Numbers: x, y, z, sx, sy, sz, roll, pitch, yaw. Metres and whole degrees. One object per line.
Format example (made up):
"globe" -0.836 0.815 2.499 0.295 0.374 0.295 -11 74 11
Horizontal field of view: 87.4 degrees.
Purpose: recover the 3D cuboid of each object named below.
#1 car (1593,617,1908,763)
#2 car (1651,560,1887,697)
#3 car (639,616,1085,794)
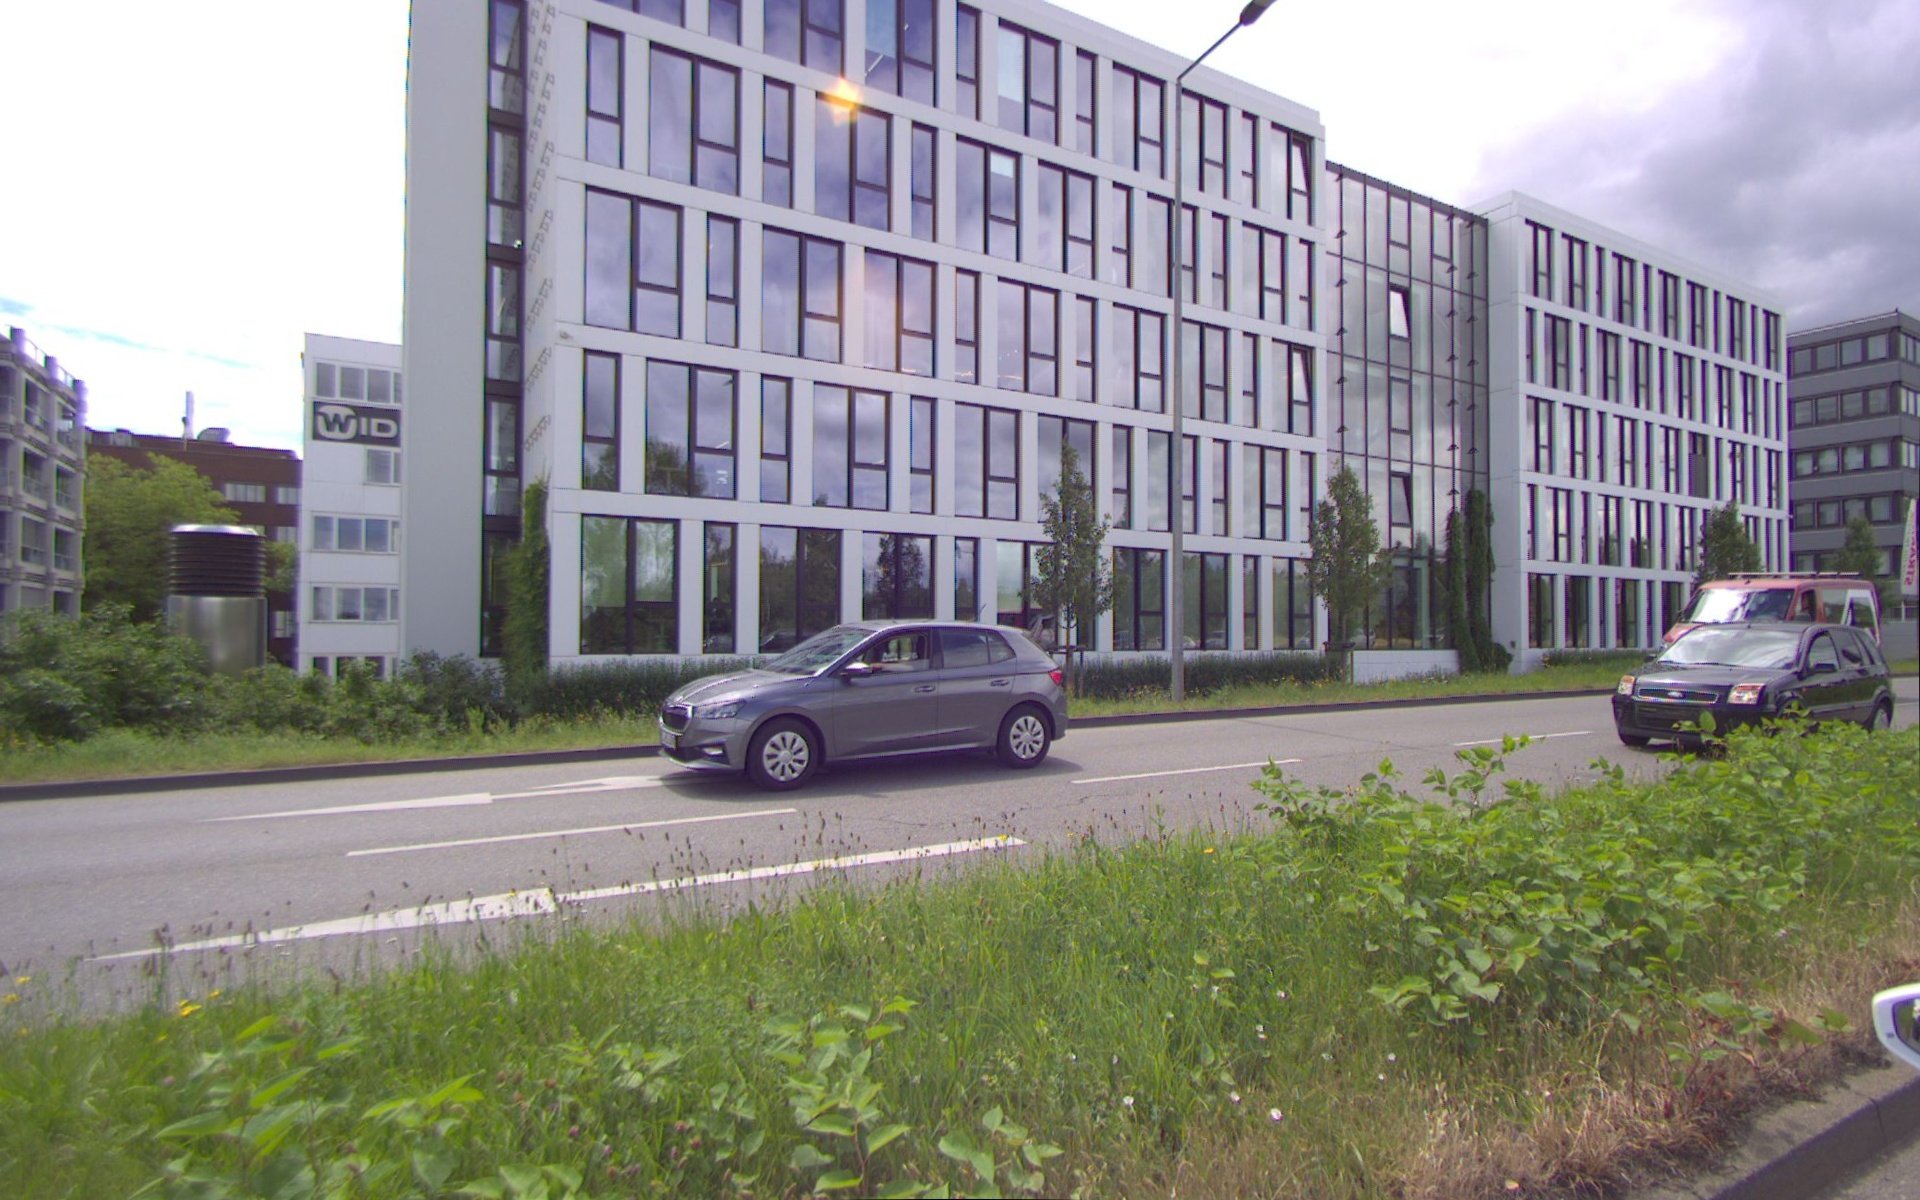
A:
"car" 9.546 0.963 12.082 3.953 1.502 1.671 1 -1 -30
"car" 16.264 0.574 20.137 5.179 2.444 1.984 1 -1 -30
"car" -0.927 0.882 9.895 3.953 1.416 1.923 1 -1 -31
